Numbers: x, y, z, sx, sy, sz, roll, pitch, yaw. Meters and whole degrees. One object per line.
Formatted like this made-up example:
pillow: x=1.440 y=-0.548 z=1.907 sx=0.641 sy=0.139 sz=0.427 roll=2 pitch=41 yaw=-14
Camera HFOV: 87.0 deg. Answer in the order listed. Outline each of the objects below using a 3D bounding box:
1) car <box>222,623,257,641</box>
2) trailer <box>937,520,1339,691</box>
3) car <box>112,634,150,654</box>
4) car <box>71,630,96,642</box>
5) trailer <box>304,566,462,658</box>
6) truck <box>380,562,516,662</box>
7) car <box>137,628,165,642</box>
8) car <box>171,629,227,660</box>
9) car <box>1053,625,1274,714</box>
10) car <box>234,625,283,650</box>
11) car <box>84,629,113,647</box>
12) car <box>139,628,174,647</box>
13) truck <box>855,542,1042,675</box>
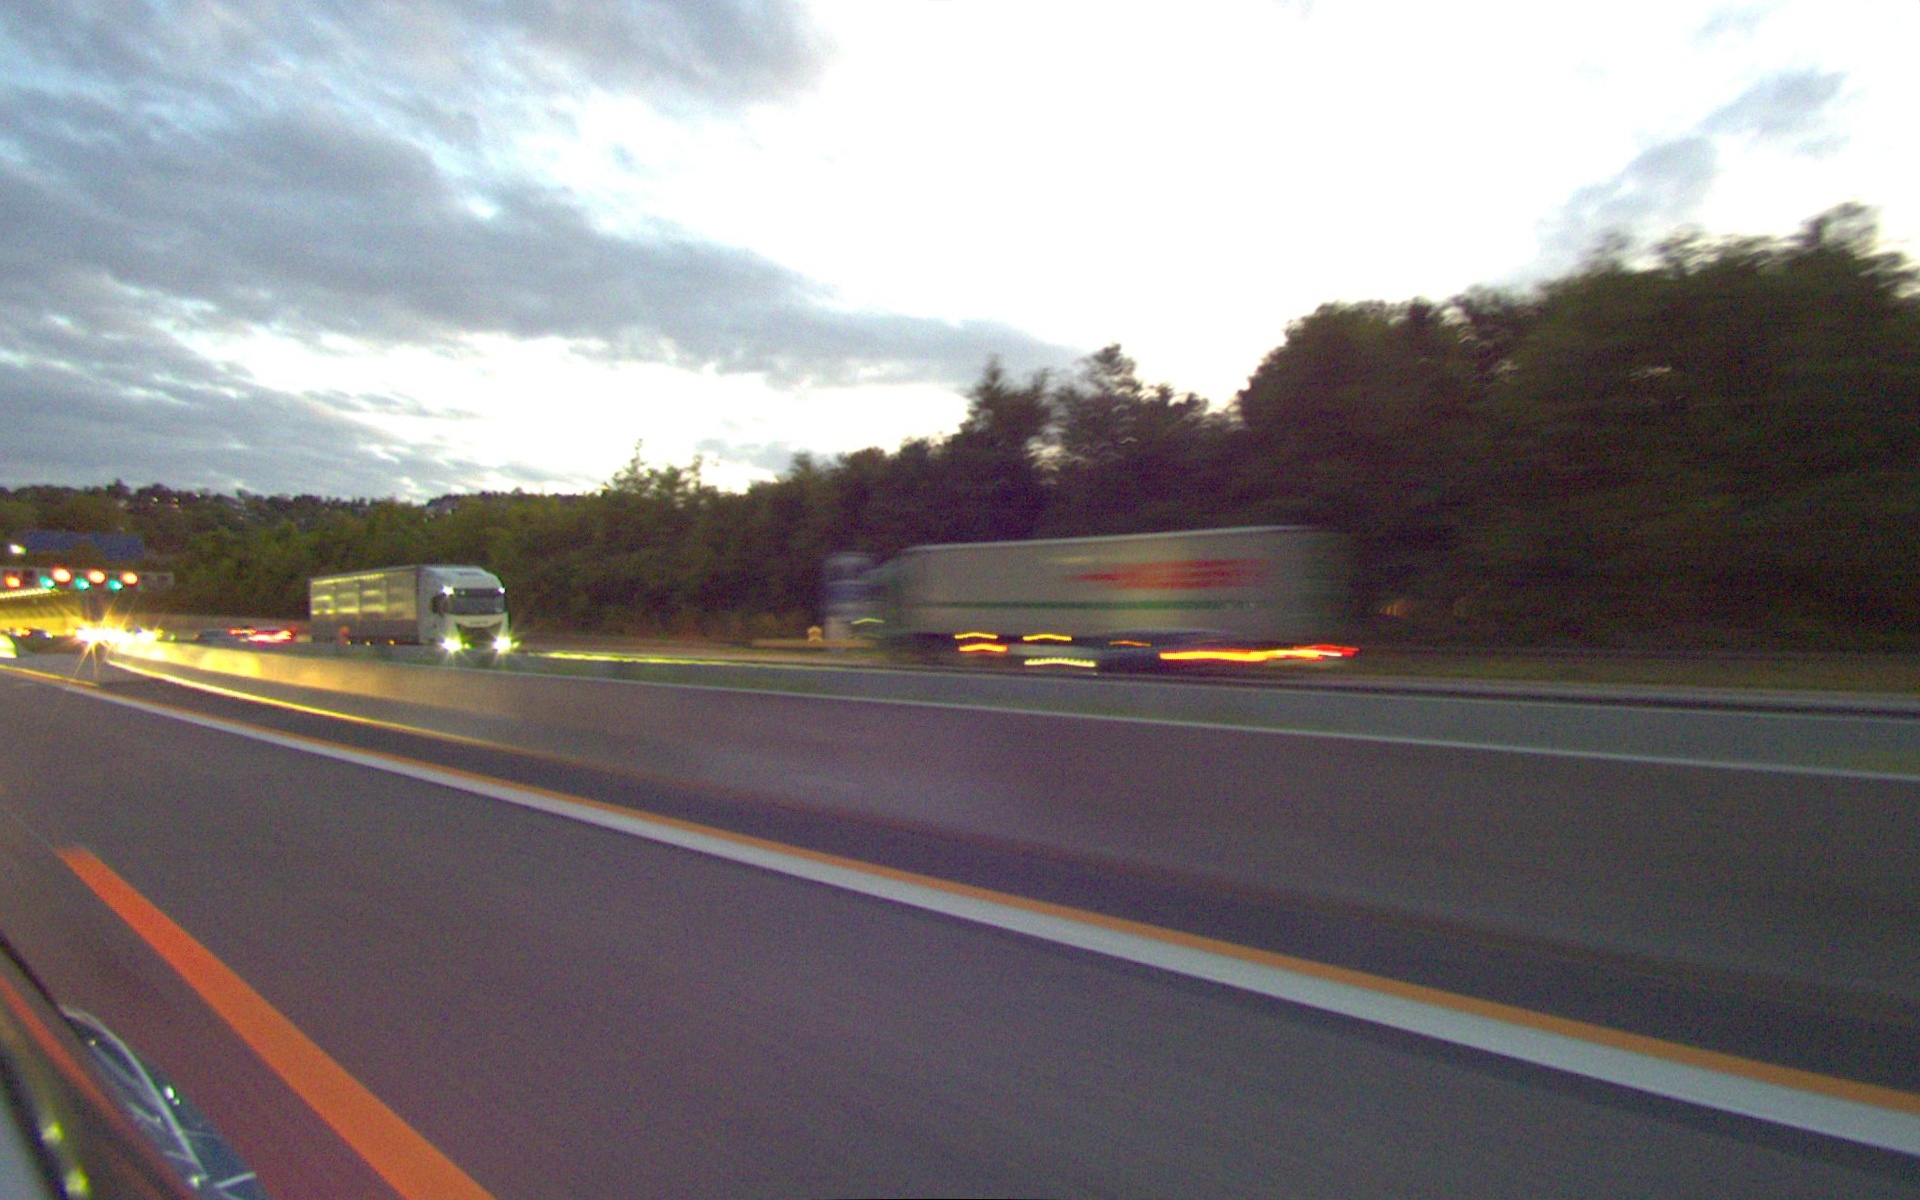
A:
car: x=-69.855 y=3.052 z=98.109 sx=4.749 sy=1.650 sz=1.785 roll=-1 pitch=1 yaw=42
trailer: x=4.708 y=0.169 z=30.422 sx=12.403 sy=4.237 sz=2.748 roll=-1 pitch=1 yaw=43
car: x=-68.659 y=3.636 z=83.760 sx=3.998 sy=1.492 sz=1.769 roll=-1 pitch=1 yaw=41
car: x=-115.707 y=4.755 z=133.569 sx=4.699 sy=1.496 sz=1.792 roll=-1 pitch=1 yaw=41
trailer: x=-26.817 y=0.523 z=46.641 sx=11.833 sy=3.811 sz=2.769 roll=-1 pitch=1 yaw=42
truck: x=-20.989 y=0.452 z=41.362 sx=6.299 sy=3.803 sz=2.773 roll=-1 pitch=1 yaw=41
car: x=-98.198 y=4.208 z=122.793 sx=4.699 sy=1.496 sz=1.806 roll=-1 pitch=1 yaw=41
car: x=-51.486 y=2.942 z=68.461 sx=4.698 sy=1.898 sz=2.069 roll=-1 pitch=1 yaw=41
car: x=4.496 y=1.459 z=22.803 sx=4.516 sy=1.688 sz=1.972 roll=-1 pitch=1 yaw=43
car: x=-50.016 y=2.666 z=72.119 sx=4.890 sy=1.650 sz=1.718 roll=-1 pitch=1 yaw=42
car: x=-79.326 y=3.498 z=93.208 sx=3.822 sy=1.492 sz=1.490 roll=-1 pitch=1 yaw=41
car: x=-76.849 y=3.604 z=96.763 sx=4.749 sy=1.650 sz=1.785 roll=-1 pitch=1 yaw=42
truck: x=-0.508 y=0.272 z=35.367 sx=6.386 sy=4.202 sz=2.747 roll=-1 pitch=1 yaw=43
